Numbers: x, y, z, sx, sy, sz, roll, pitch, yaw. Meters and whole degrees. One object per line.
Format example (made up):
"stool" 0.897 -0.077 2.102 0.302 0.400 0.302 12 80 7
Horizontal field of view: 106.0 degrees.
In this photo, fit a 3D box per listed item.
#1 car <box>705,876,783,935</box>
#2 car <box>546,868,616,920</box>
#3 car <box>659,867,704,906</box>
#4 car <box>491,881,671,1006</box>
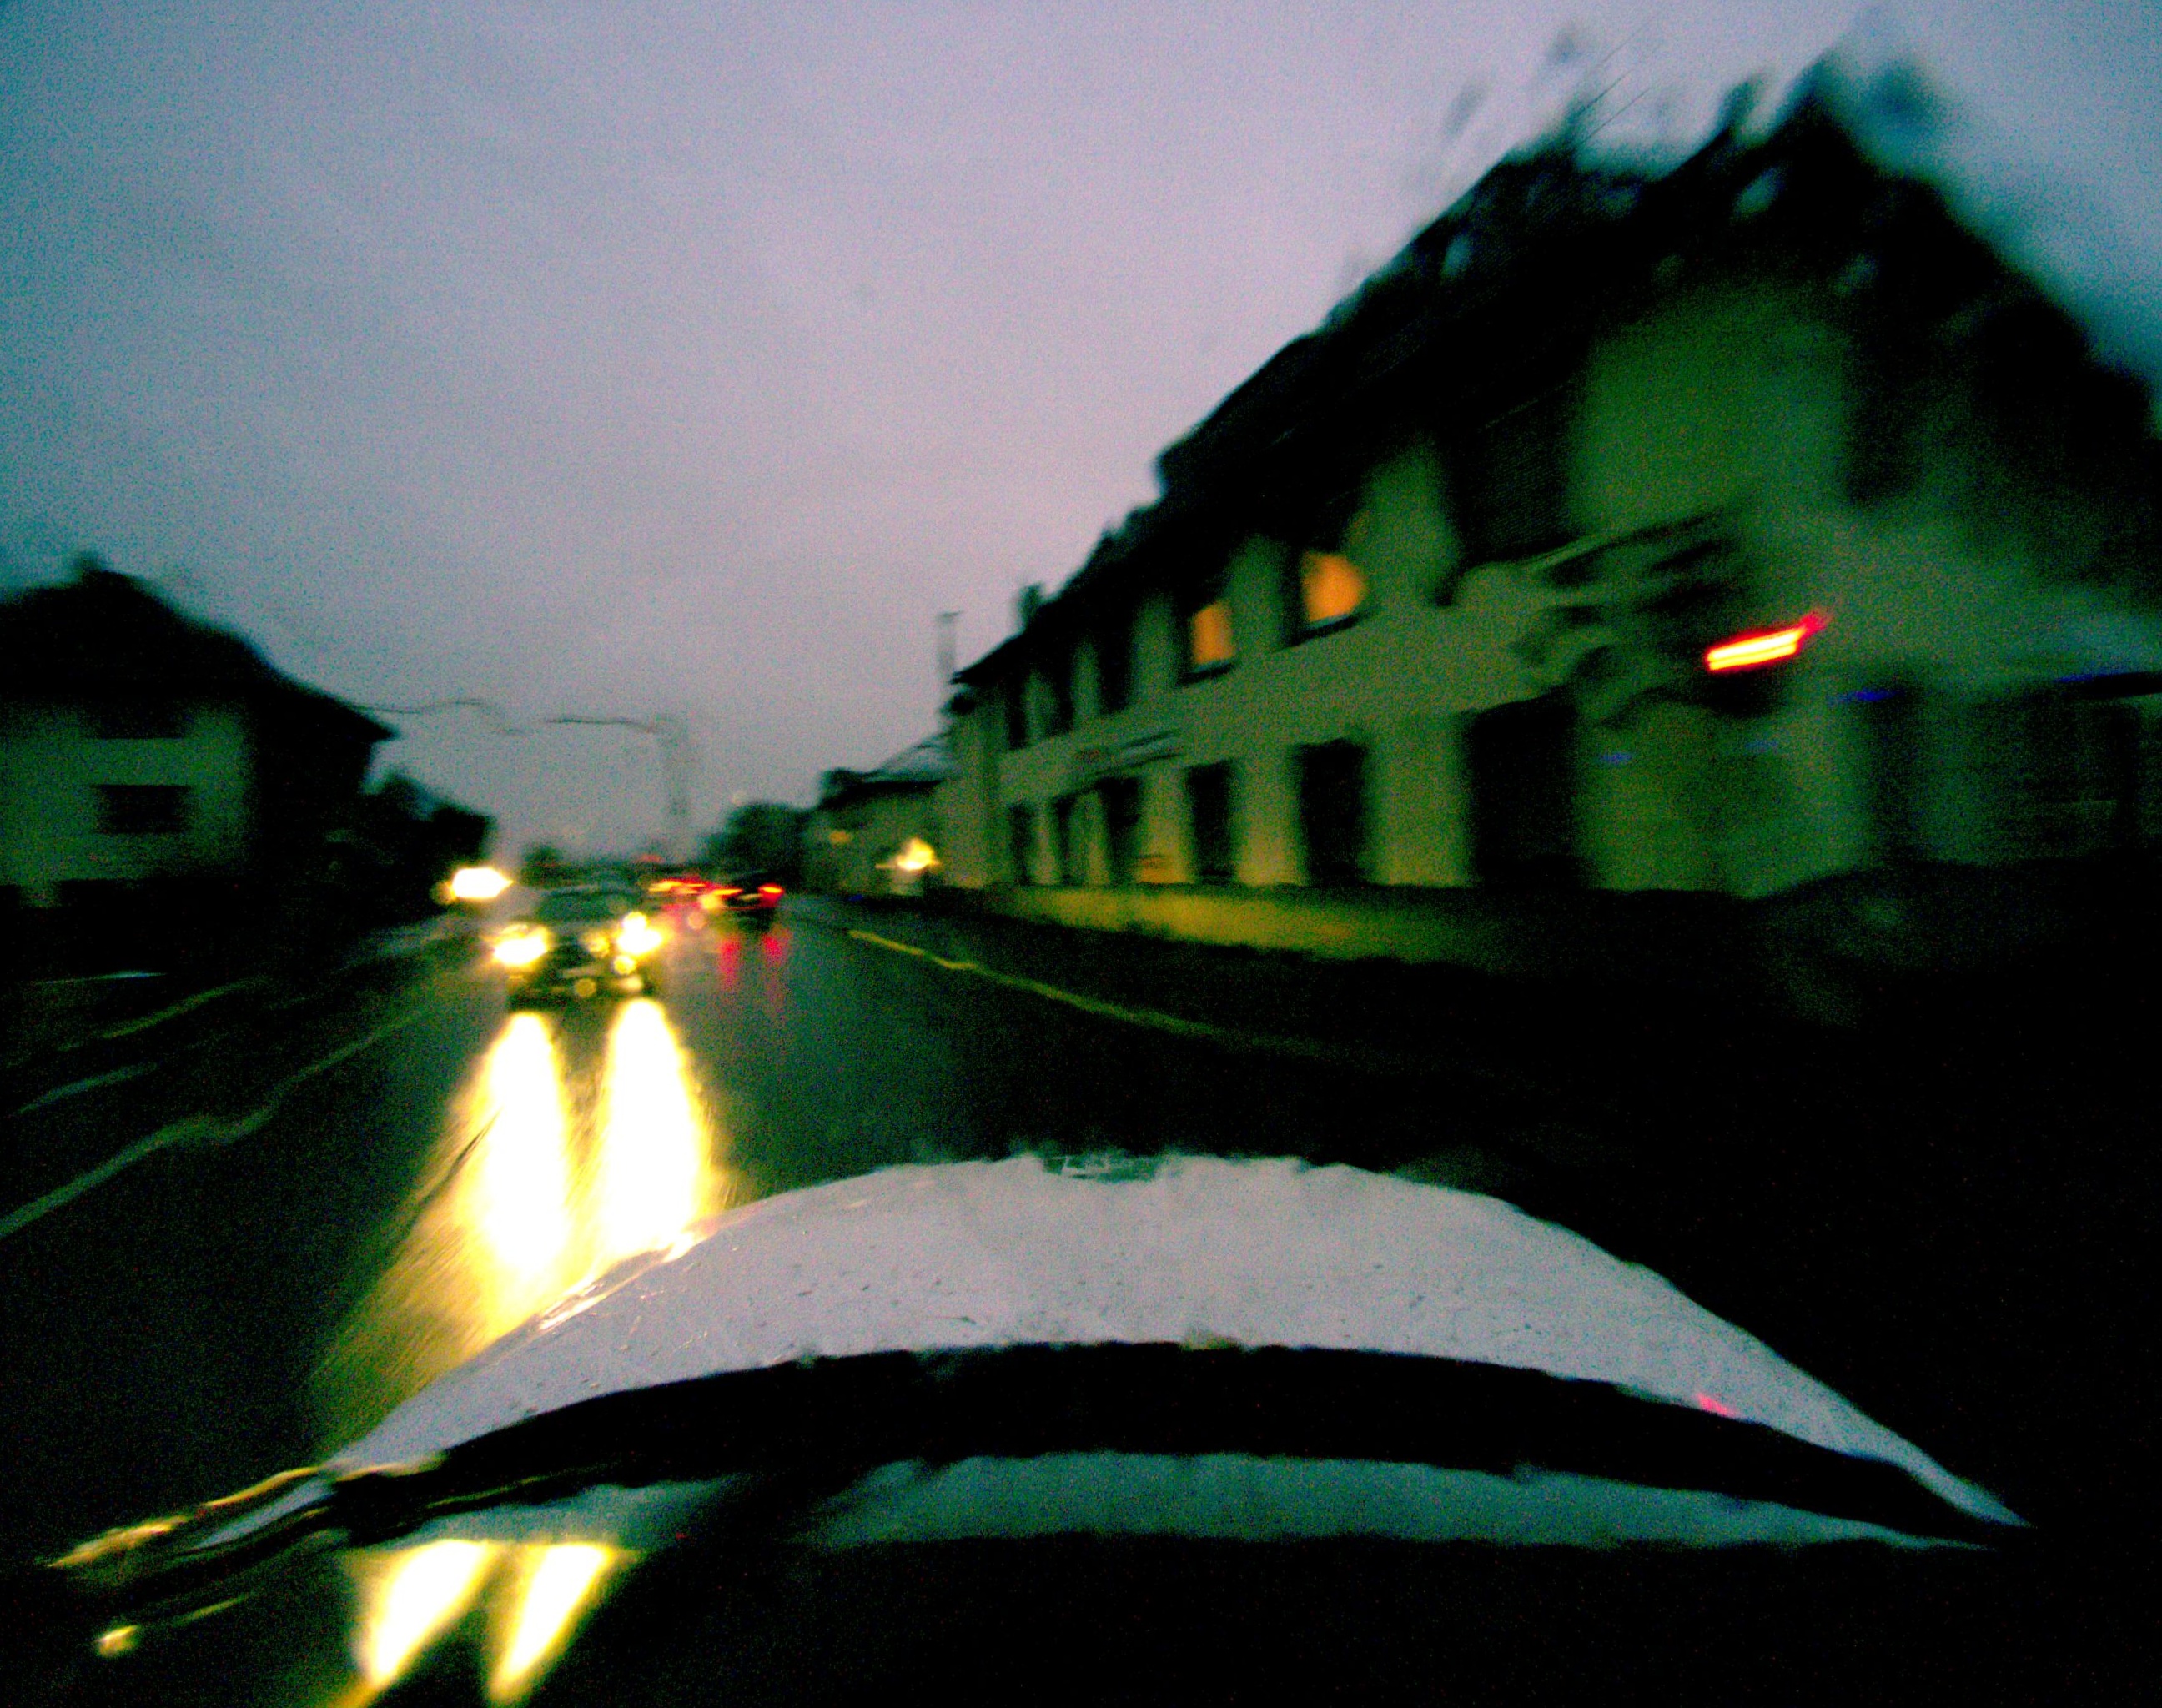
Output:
"car" -10.824 1.576 26.168 2.056 1.573 4.666 -3 -1 -23
"car" -17.868 1.367 29.275 1.887 1.585 4.249 -4 1 -29
"car" -21.658 1.727 44.101 2.005 1.881 3.965 -4 1 -27
"car" -7.546 1.213 12.726 1.890 1.394 4.485 -3 0 -26
